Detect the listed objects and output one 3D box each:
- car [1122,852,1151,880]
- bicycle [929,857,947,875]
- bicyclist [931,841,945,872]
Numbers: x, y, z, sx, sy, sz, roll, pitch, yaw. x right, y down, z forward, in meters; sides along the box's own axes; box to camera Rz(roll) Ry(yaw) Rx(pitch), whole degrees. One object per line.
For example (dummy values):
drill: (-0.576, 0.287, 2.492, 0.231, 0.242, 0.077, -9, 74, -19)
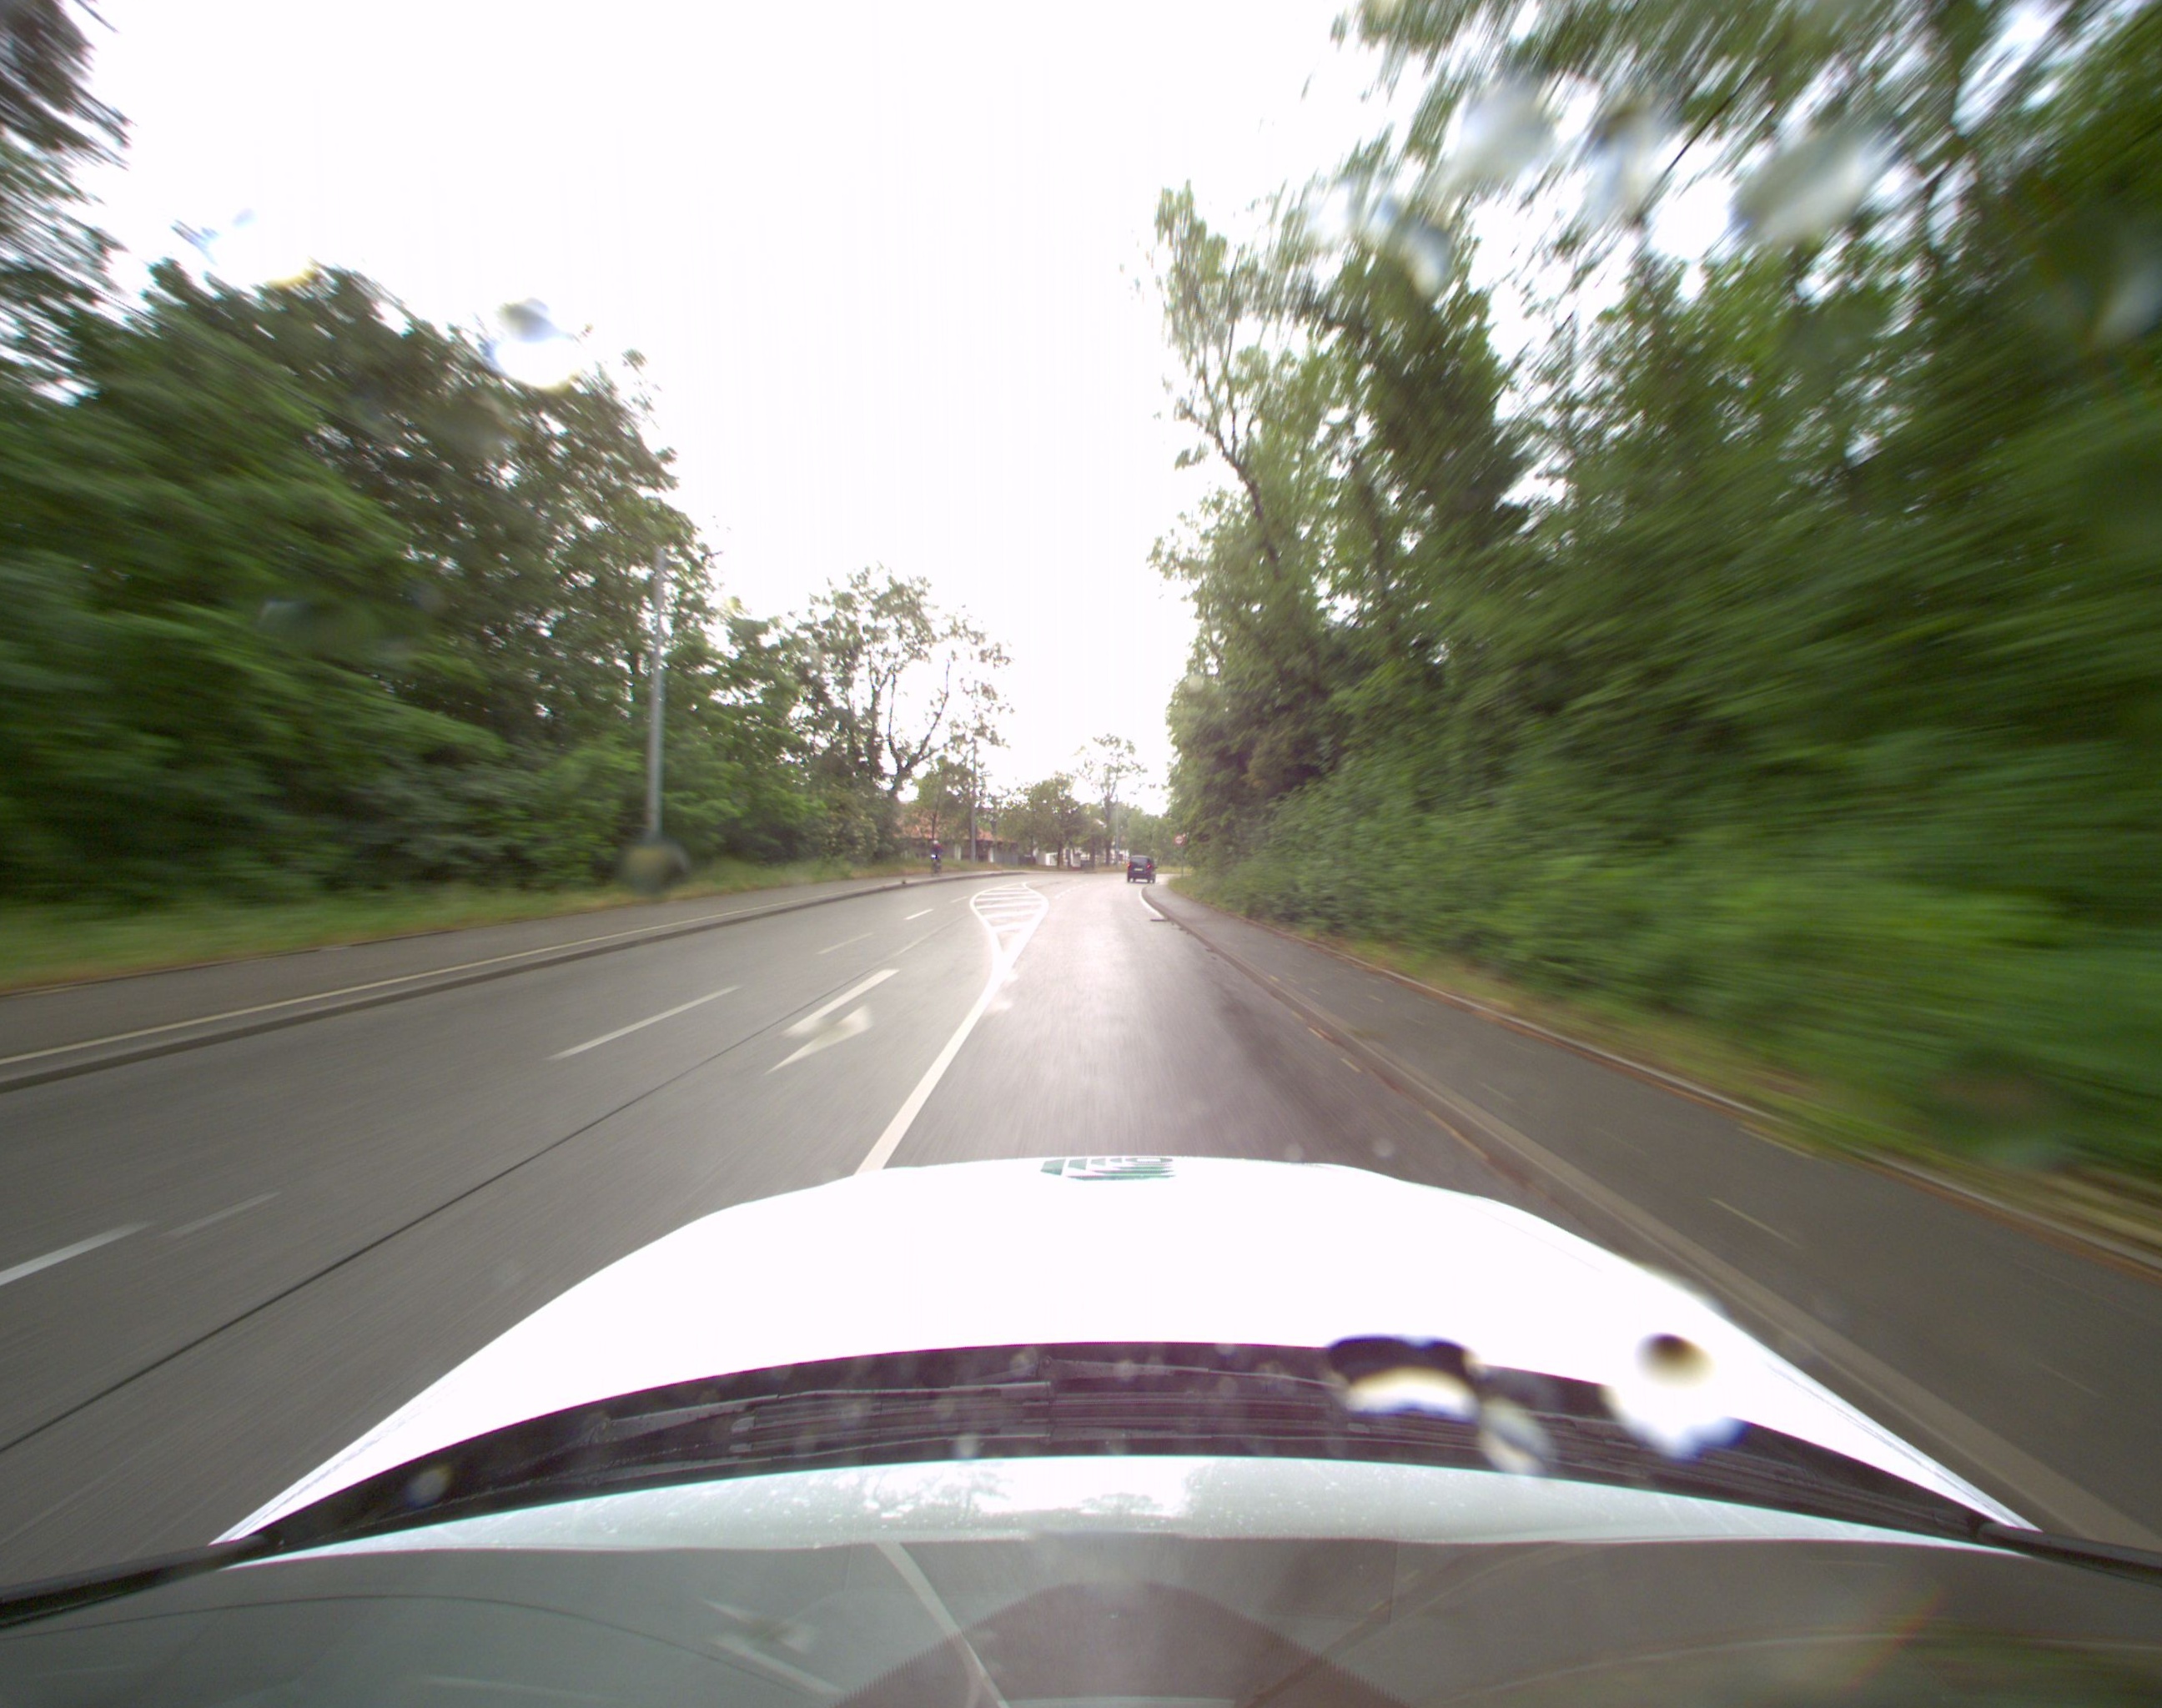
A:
car: (3.915, 0.889, 57.093, 1.819, 1.794, 4.004, -3, -3, 5)
bicycle: (-7.191, 0.575, 40.973, 0.354, 0.849, 2.095, 1, 0, 4)
bicyclist: (-7.192, 0.131, 40.952, 0.334, 1.574, 1.299, 1, -1, 4)
